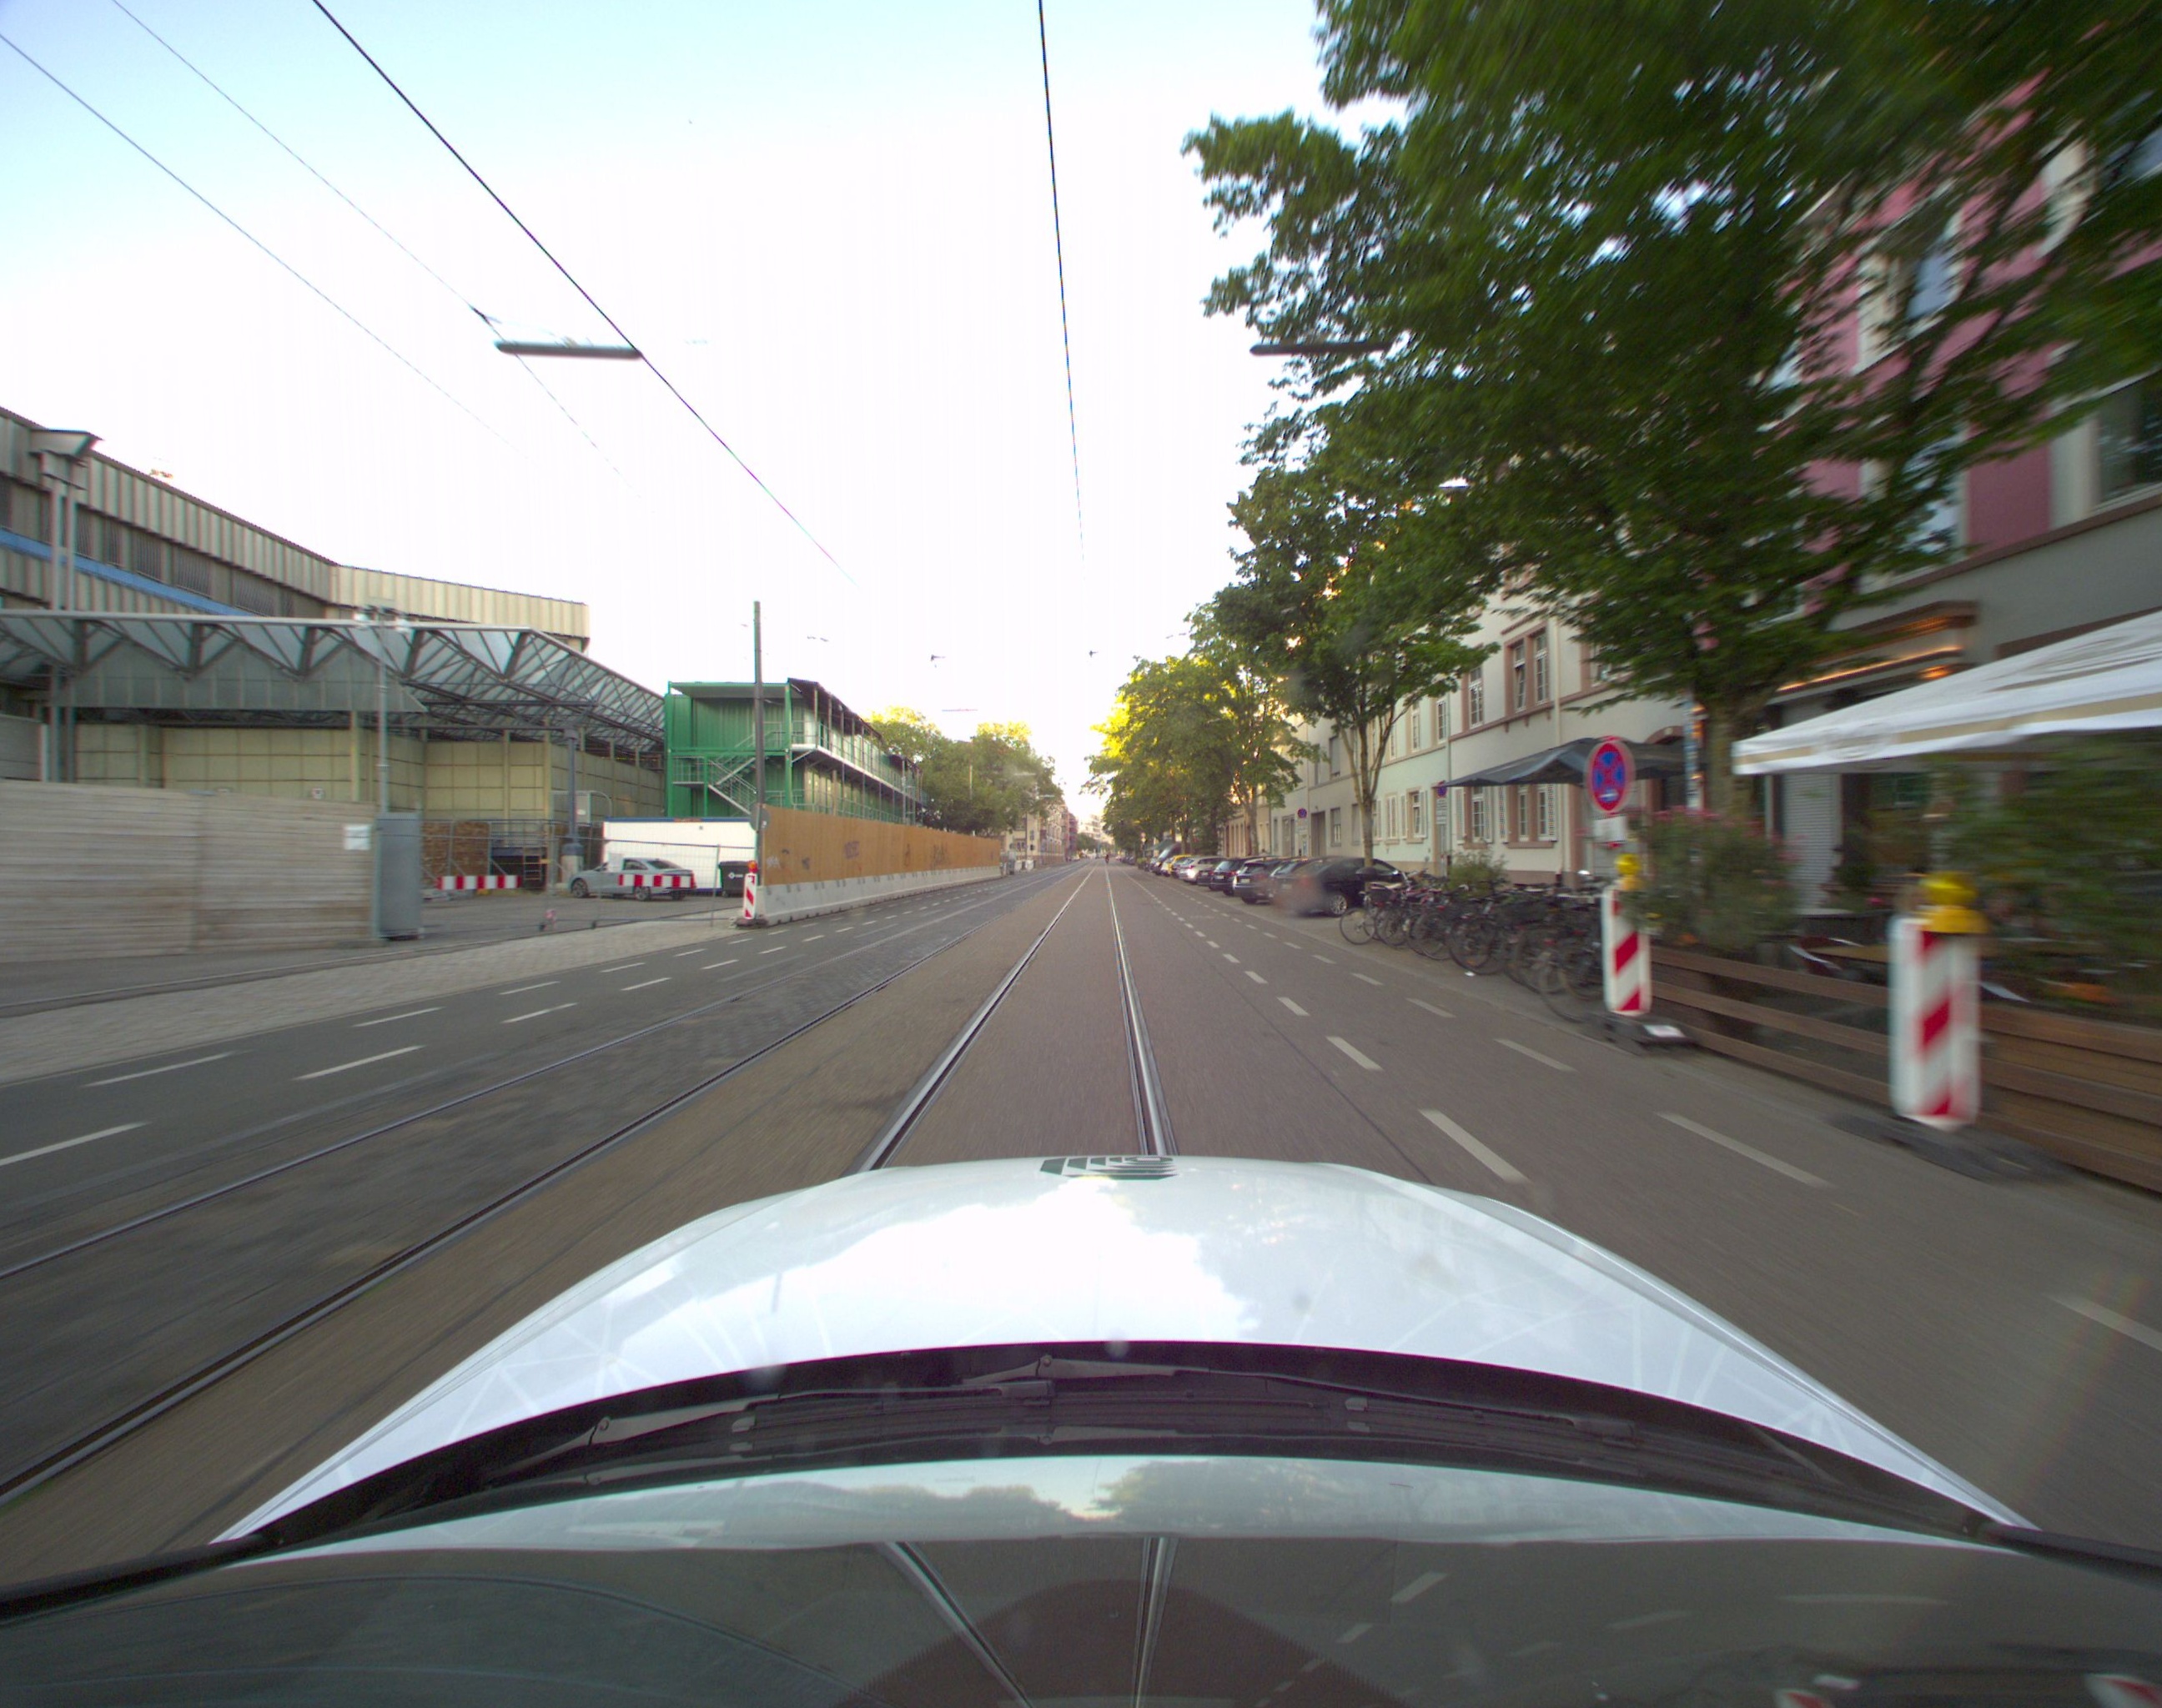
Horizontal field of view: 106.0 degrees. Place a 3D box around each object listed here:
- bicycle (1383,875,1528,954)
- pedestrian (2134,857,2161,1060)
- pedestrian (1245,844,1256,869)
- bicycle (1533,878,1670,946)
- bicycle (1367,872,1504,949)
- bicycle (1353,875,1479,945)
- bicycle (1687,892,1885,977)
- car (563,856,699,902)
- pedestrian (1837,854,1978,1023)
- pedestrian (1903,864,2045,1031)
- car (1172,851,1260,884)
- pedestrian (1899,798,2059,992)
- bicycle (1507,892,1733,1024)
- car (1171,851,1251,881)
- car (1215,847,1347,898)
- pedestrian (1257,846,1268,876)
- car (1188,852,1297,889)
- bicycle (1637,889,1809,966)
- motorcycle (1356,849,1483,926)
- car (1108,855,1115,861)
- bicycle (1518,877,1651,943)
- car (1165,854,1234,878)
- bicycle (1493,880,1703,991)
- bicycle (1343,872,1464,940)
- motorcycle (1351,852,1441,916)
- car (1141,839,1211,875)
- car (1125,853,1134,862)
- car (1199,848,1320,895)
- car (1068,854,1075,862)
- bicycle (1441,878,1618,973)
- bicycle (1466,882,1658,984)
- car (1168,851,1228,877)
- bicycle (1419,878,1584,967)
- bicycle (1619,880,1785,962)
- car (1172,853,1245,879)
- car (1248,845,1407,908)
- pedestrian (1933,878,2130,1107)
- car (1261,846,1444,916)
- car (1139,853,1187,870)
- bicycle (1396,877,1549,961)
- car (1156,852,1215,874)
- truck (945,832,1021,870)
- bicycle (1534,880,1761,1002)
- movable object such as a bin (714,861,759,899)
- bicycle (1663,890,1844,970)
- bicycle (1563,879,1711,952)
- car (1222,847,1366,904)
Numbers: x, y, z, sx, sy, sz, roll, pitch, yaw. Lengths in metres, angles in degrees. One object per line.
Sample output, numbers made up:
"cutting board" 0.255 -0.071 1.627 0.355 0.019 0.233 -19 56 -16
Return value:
"bicycle" 5.710 0.911 12.475 1.881 1.031 0.608 -4 0 -1
"pedestrian" 7.162 0.666 5.047 0.595 1.292 0.504 0 0 3
"pedestrian" 10.482 0.151 50.407 0.535 1.568 0.814 -1 0 4
"bicycle" 7.794 0.857 12.225 1.810 0.872 0.325 -4 0 -1
"bicycle" 5.726 0.896 13.216 1.881 1.067 0.674 -4 0 -1
"bicycle" 5.702 0.938 13.899 1.858 1.031 0.591 -4 0 -1
"bicycle" 7.640 0.865 8.854 1.809 0.872 0.387 -1 -1 -1
"car" -15.390 0.819 27.903 3.965 1.402 1.743 1 0 16
"pedestrian" 6.653 0.651 6.580 0.501 1.292 0.600 -1 0 -1
"pedestrian" 7.235 0.730 6.619 0.501 1.292 0.599 1 0 -3
"car" 7.251 0.699 43.941 4.250 1.549 2.013 -2 0 -10
"pedestrian" 8.621 0.377 7.859 0.549 1.763 0.894 0 0 1
"bicycle" 4.944 0.941 7.526 1.673 1.031 0.556 -4 0 -1
"car" 7.666 0.681 47.927 4.267 1.560 1.884 -2 -1 -22
"car" 7.082 0.624 28.867 4.134 1.470 1.972 -4 0 -23
"pedestrian" 11.144 0.413 49.995 0.563 1.814 0.607 -1 -1 4
"car" 7.104 0.707 35.868 4.268 1.392 2.000 -2 0 -22
"bicycle" 7.705 0.873 9.790 1.810 0.872 0.325 -1 -1 -1
"motorcycle" 7.054 0.679 17.059 2.215 1.461 0.967 -3 0 -1
"car" 9.489 1.287 253.126 1.891 2.014 4.001 0 0 2
"bicycle" 7.789 0.866 12.619 1.810 0.872 0.325 -4 0 -1
"car" 7.860 0.804 54.050 4.140 1.425 1.905 -2 -1 -24
"bicycle" 5.683 0.883 9.010 1.881 1.031 0.608 -4 0 -1
"bicycle" 5.720 0.914 14.496 1.897 1.031 0.533 -4 0 -1
"motorcycle" 7.104 0.674 18.395 1.780 1.343 0.533 -3 0 -1
"car" 7.660 0.221 65.831 5.105 2.642 2.011 -3 -1 -16
"car" 10.258 0.729 173.612 1.798 2.014 4.001 0 0 2
"car" 6.863 0.658 31.374 4.134 1.470 2.000 -4 0 -23
"car" -2.800 1.123 238.495 1.891 2.178 4.001 0 0 2
"bicycle" 5.701 0.892 10.411 1.881 1.031 0.608 -4 0 -1
"bicycle" 5.701 0.924 9.709 1.881 1.031 0.608 -4 0 -1
"car" 8.222 0.689 57.430 3.935 1.619 1.921 -3 -1 2
"bicycle" 5.697 0.914 11.087 1.881 1.031 0.608 -4 0 -1
"bicycle" 7.798 0.833 10.245 1.810 0.872 0.325 -4 0 -1
"car" 7.956 0.748 50.755 4.140 1.425 1.882 -2 -1 -24
"car" 7.157 0.628 23.816 3.956 1.470 1.991 -4 0 -15
"pedestrian" 5.774 0.802 4.982 0.499 1.292 0.601 -1 0 6
"car" 6.999 0.666 21.070 4.173 1.426 1.812 -4 0 -18
"car" 7.941 0.727 79.042 4.193 1.498 1.993 -2 -1 -23
"bicycle" 5.668 0.929 11.842 1.881 1.031 0.608 -4 0 -1
"car" 7.840 0.673 61.171 3.967 1.486 1.906 -2 -1 -23
"truck" -9.515 -0.306 79.402 7.039 3.480 2.539 1 0 -3
"bicycle" 5.656 0.853 8.183 1.810 1.031 0.608 -4 0 -1
"movable object such as a bin" -12.660 0.940 29.964 1.303 1.369 0.783 -1 0 -2
"bicycle" 7.707 0.868 9.358 1.810 0.872 0.325 -1 -1 -1
"bicycle" 7.754 0.848 11.376 1.810 0.872 0.325 -4 0 -1
"car" 6.852 0.652 26.193 4.131 1.470 1.811 -4 0 -20
